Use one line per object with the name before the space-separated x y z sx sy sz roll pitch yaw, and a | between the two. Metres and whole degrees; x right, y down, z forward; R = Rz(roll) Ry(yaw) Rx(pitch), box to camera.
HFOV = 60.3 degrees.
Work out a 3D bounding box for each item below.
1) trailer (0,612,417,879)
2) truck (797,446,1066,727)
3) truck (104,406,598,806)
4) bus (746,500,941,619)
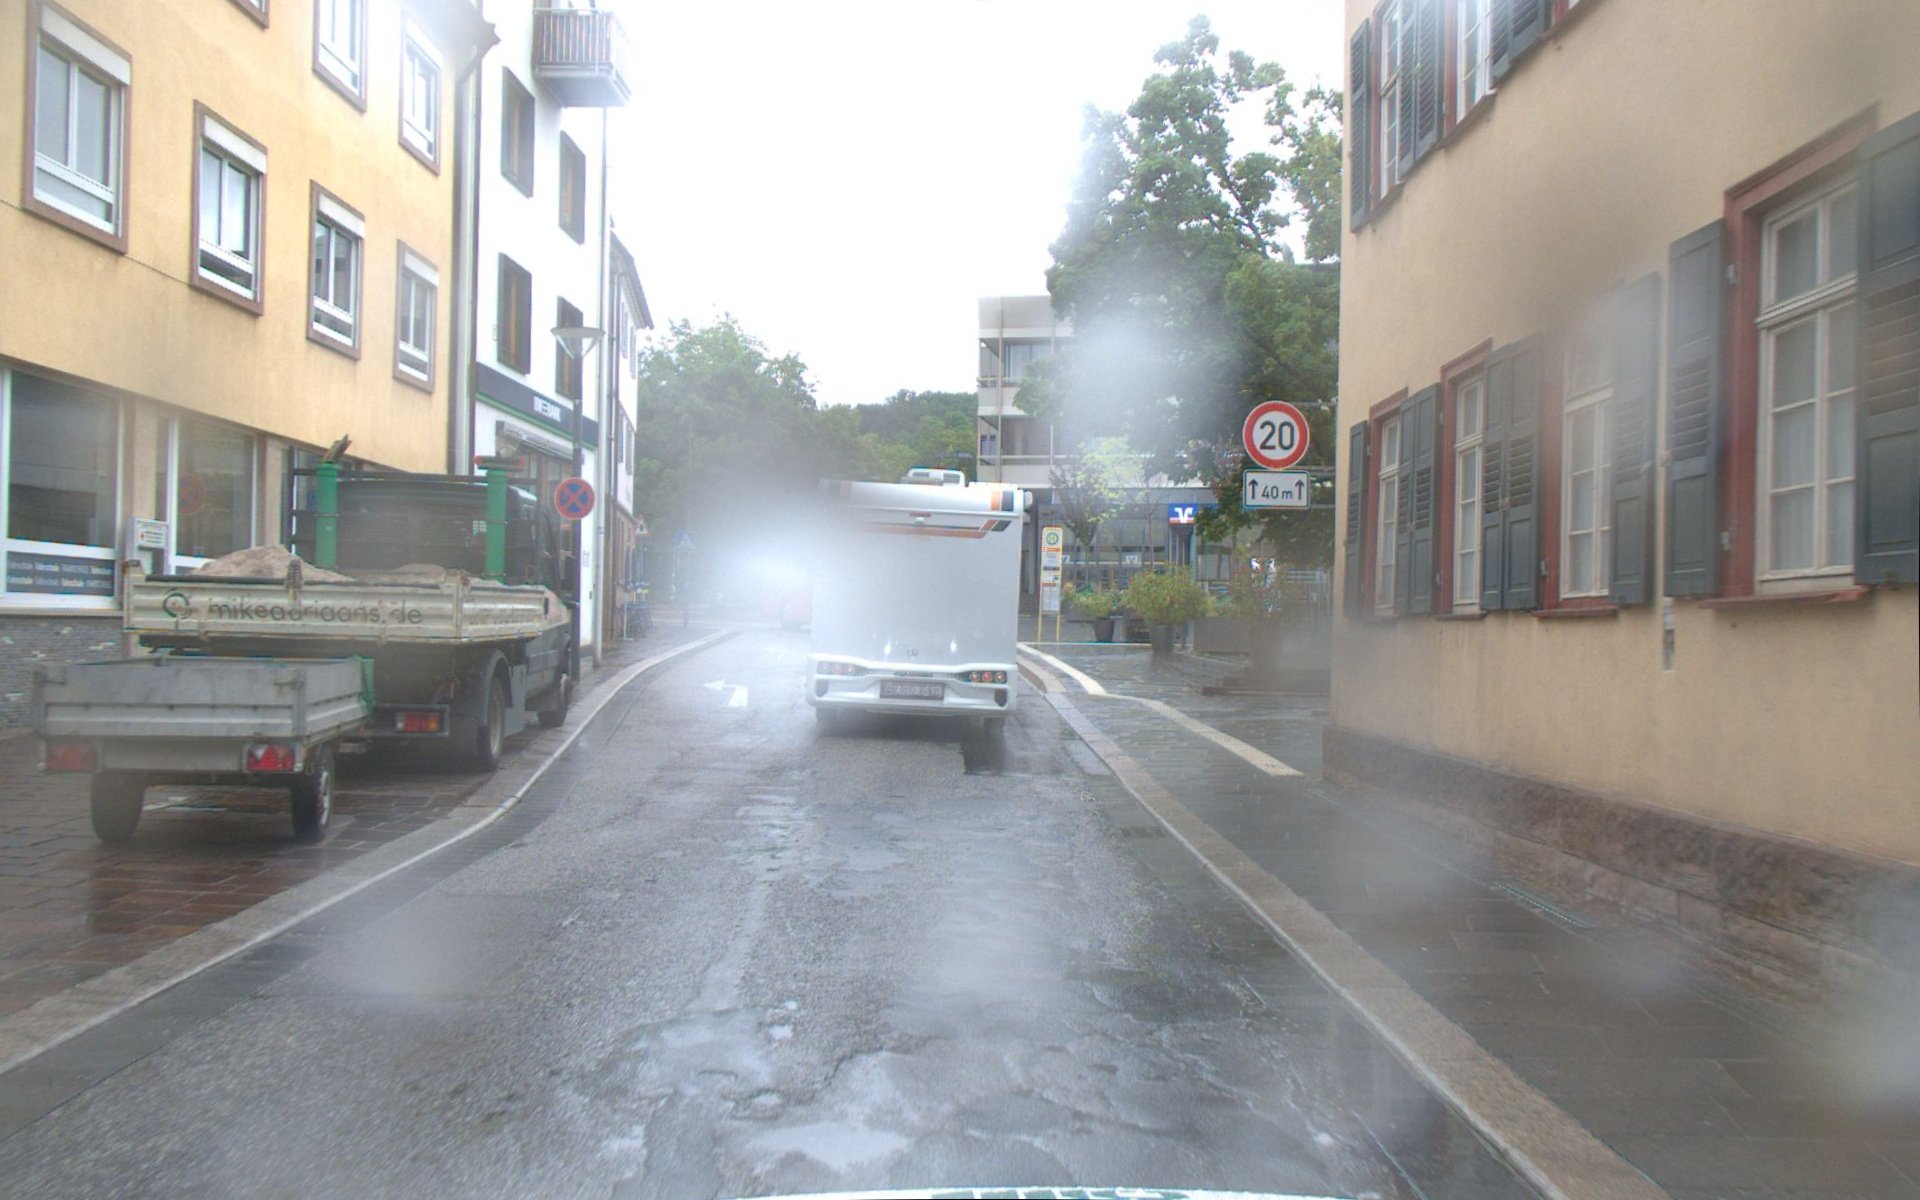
trailer | -4.386 0.728 9.570 1.817 1.144 3.015 1 2 -8
truck | -0.546 -0.132 19.943 2.751 2.846 6.100 0 0 -5
truck | -4.765 -0.073 14.274 2.353 2.639 6.477 1 2 -5
bus | -3.751 -1.050 49.778 2.981 3.201 10.080 0 0 -22
